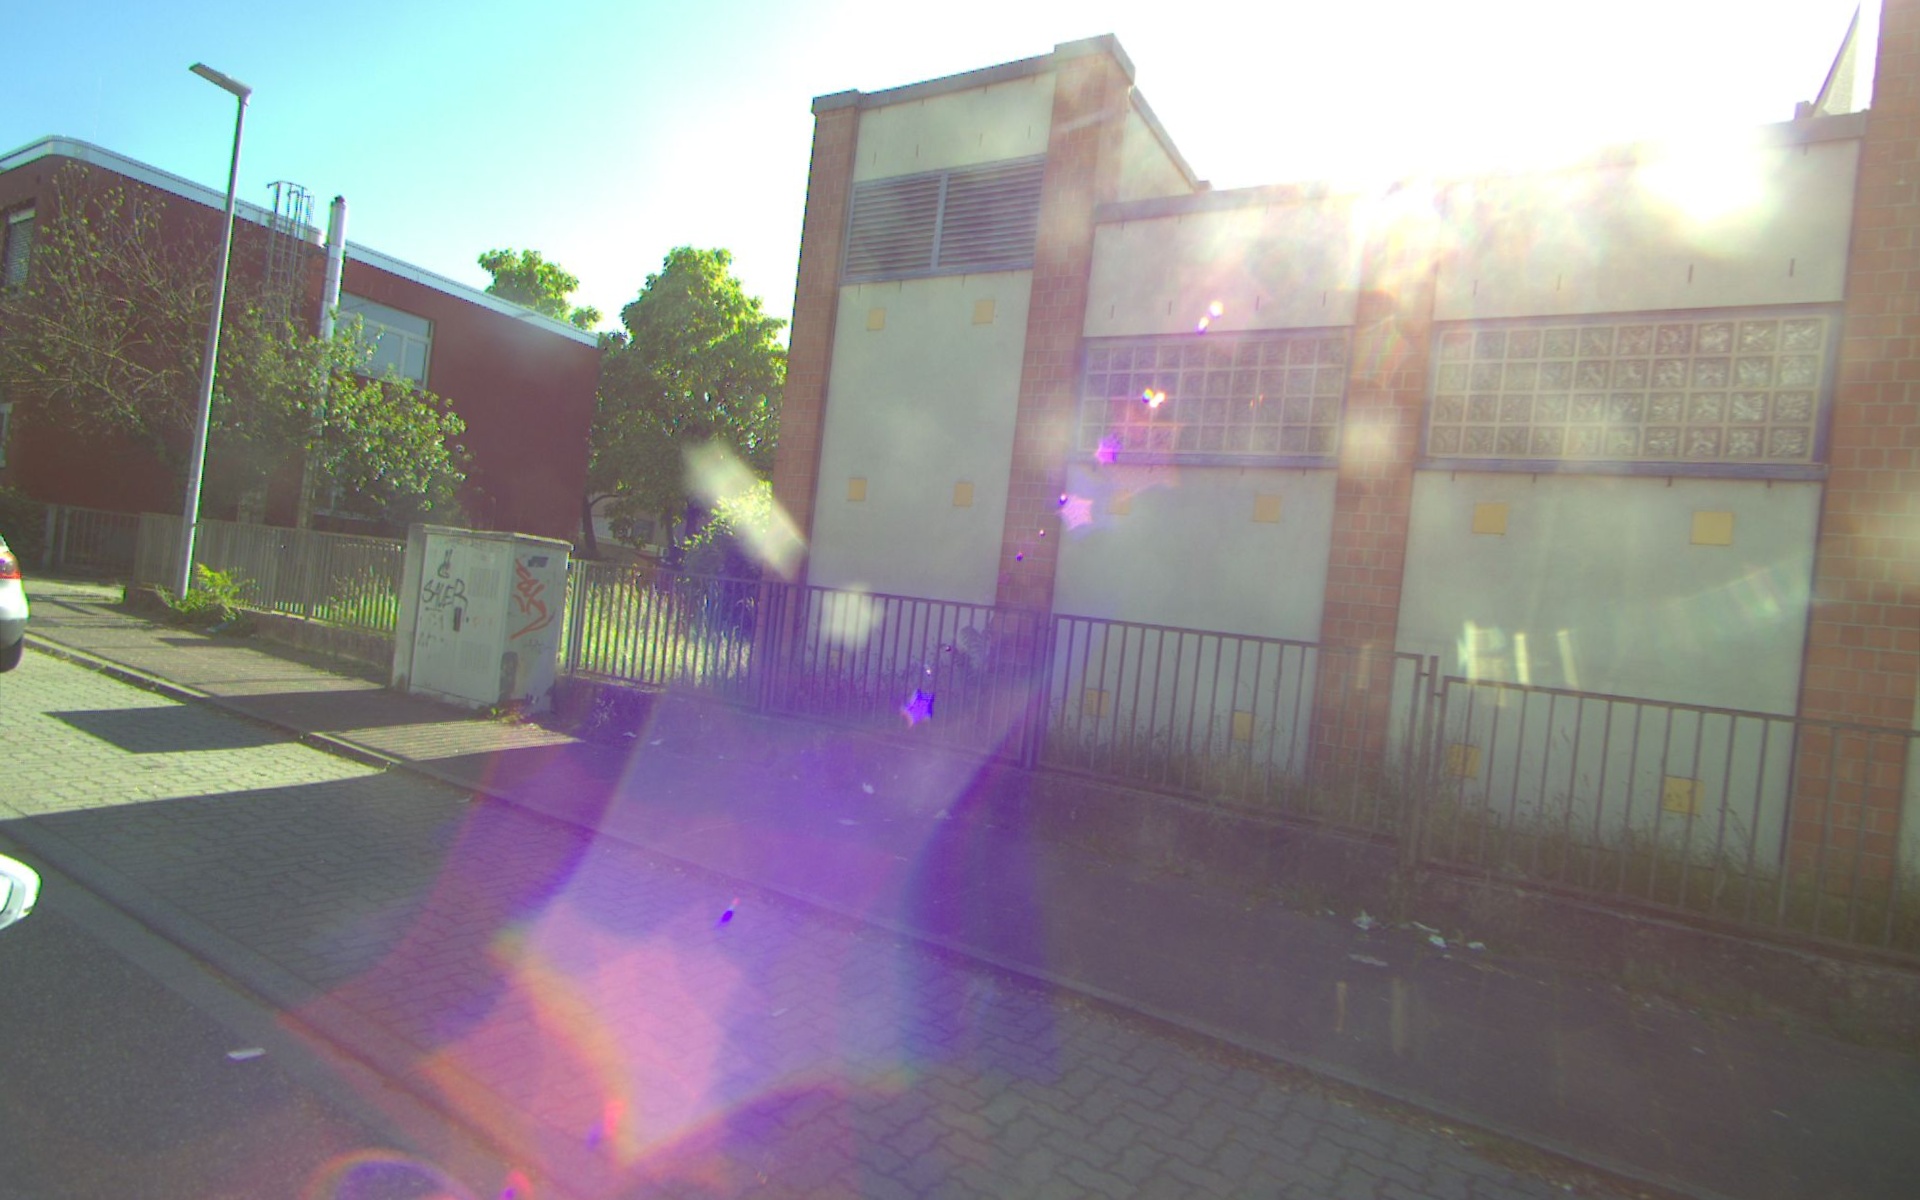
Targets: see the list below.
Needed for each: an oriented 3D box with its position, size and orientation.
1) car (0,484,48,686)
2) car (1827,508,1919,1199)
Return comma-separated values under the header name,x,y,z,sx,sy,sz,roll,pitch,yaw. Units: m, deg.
name,x,y,z,sx,sy,sz,roll,pitch,yaw
car,-9.467,-0.355,8.406,3.870,1.580,1.662,7,-1,32
car,3.934,0.939,0.615,4.745,2.047,1.945,6,0,31
